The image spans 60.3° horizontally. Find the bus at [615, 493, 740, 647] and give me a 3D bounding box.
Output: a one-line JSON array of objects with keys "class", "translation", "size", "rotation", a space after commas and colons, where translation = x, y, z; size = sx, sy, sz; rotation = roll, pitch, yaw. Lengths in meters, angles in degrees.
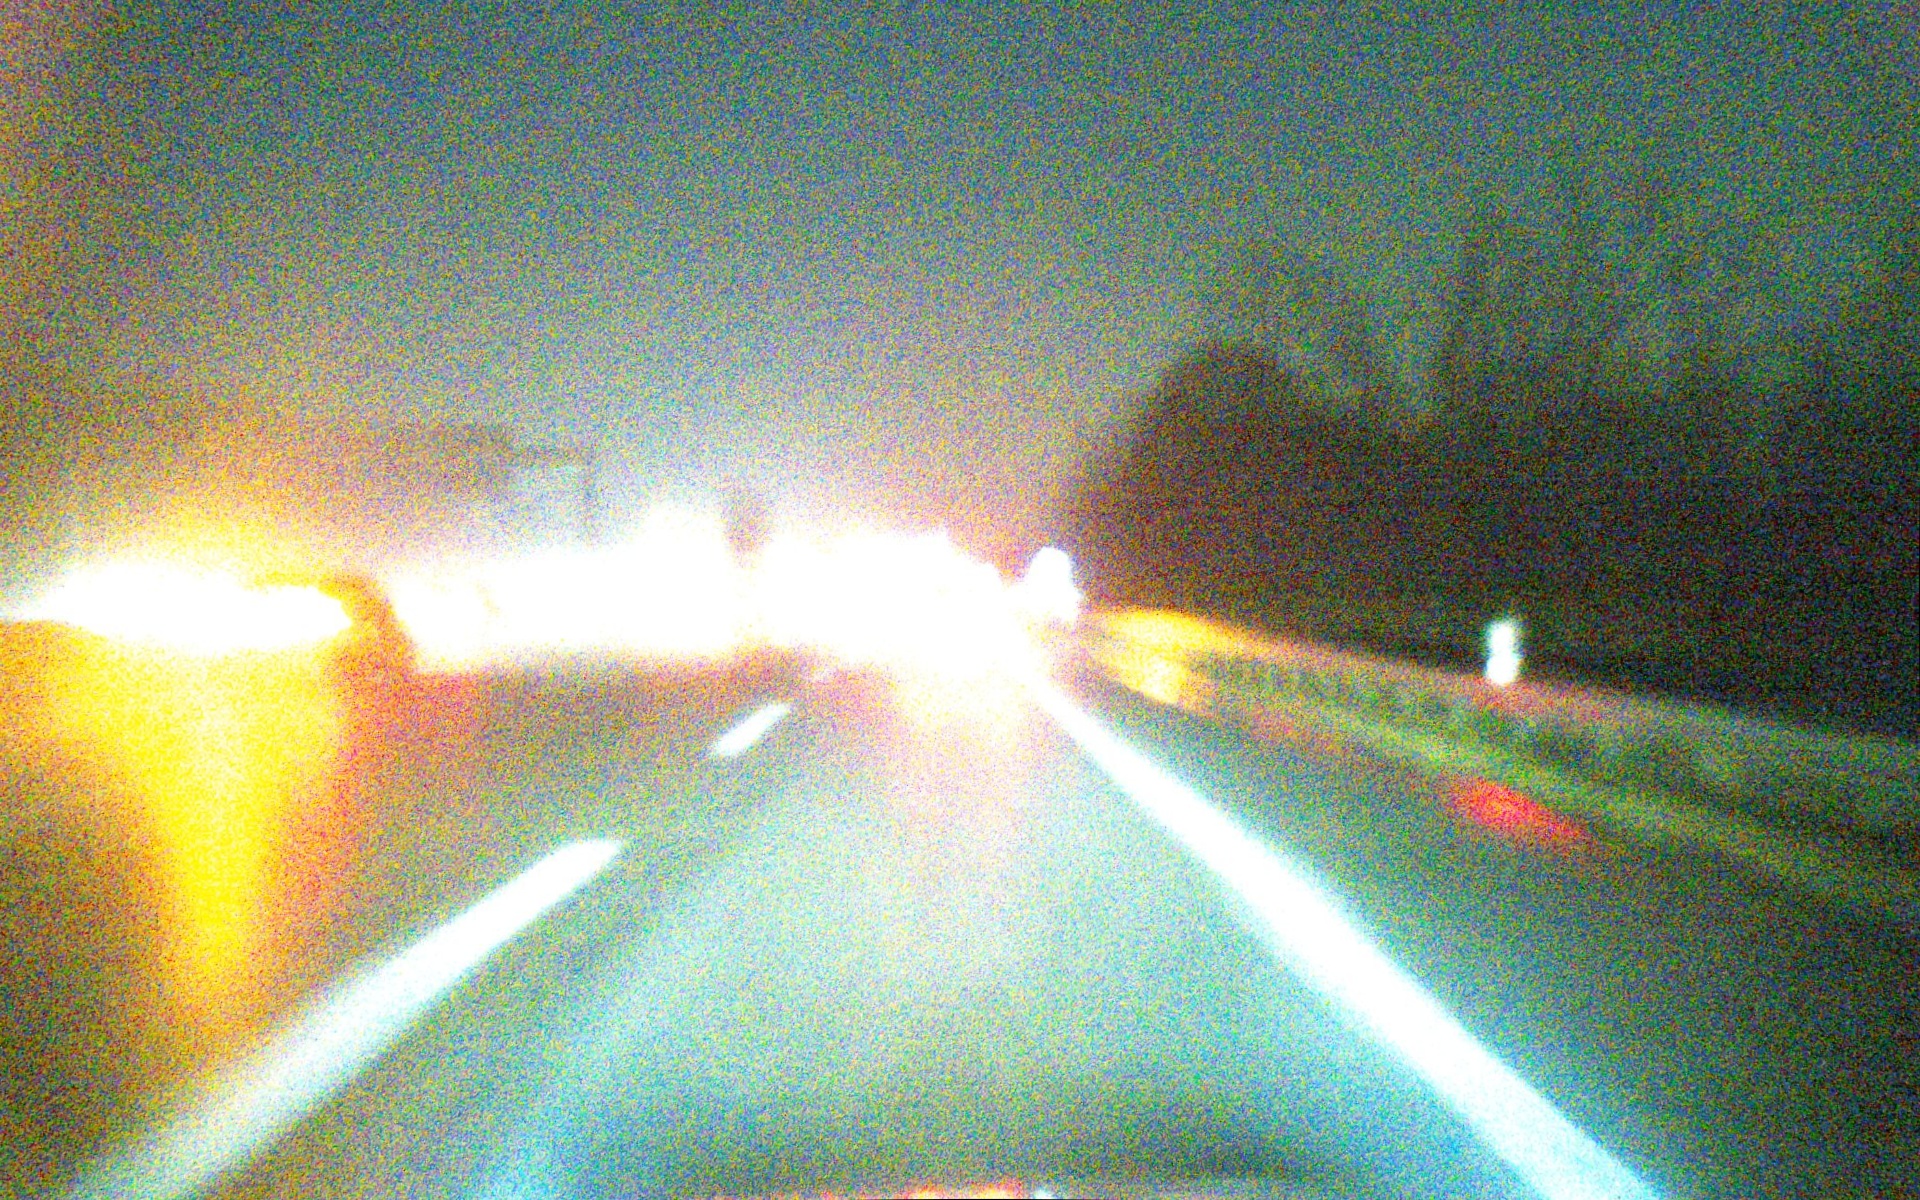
[{"class": "bus", "translation": [-9.261, -0.888, 55.414], "size": [3.036, 4.587, 10.902], "rotation": [1, 0, -4]}]

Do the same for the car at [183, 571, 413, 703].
[{"class": "car", "translation": [-8.954, 0.474, 22.737], "size": [1.956, 1.624, 3.993], "rotation": [1, 0, -8]}]

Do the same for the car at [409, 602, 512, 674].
[{"class": "car", "translation": [-12.242, 0.901, 40.751], "size": [1.661, 1.679, 3.836], "rotation": [1, 0, -5]}]

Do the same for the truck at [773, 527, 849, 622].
[{"class": "truck", "translation": [-9.527, -1.533, 107.042], "size": [4.125, 5.747, 11.463], "rotation": [1, 0, -2]}]

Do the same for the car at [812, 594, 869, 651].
[{"class": "car", "translation": [-4.516, 0.822, 62.958], "size": [2.084, 2.049, 4.642], "rotation": [1, 0, -3]}]

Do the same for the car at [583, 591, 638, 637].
[{"class": "car", "translation": [-14.735, 0.584, 69.936], "size": [1.956, 1.825, 3.993], "rotation": [1, 0, -8]}]

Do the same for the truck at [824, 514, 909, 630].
[{"class": "truck", "translation": [-4.819, -1.373, 88.229], "size": [4.125, 5.747, 11.463], "rotation": [1, 0, -2]}]

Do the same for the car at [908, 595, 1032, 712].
[{"class": "car", "translation": [0.124, 0.870, 28.556], "size": [1.953, 1.839, 3.999], "rotation": [1, 0, -1]}]

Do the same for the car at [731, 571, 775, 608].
[{"class": "car", "translation": [-10.538, -0.510, 84.463], "size": [1.954, 1.839, 3.996], "rotation": [1, 0, -4]}]

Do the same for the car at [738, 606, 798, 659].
[{"class": "car", "translation": [-7.036, 1.174, 60.923], "size": [1.954, 1.839, 3.996], "rotation": [1, 0, -4]}]
